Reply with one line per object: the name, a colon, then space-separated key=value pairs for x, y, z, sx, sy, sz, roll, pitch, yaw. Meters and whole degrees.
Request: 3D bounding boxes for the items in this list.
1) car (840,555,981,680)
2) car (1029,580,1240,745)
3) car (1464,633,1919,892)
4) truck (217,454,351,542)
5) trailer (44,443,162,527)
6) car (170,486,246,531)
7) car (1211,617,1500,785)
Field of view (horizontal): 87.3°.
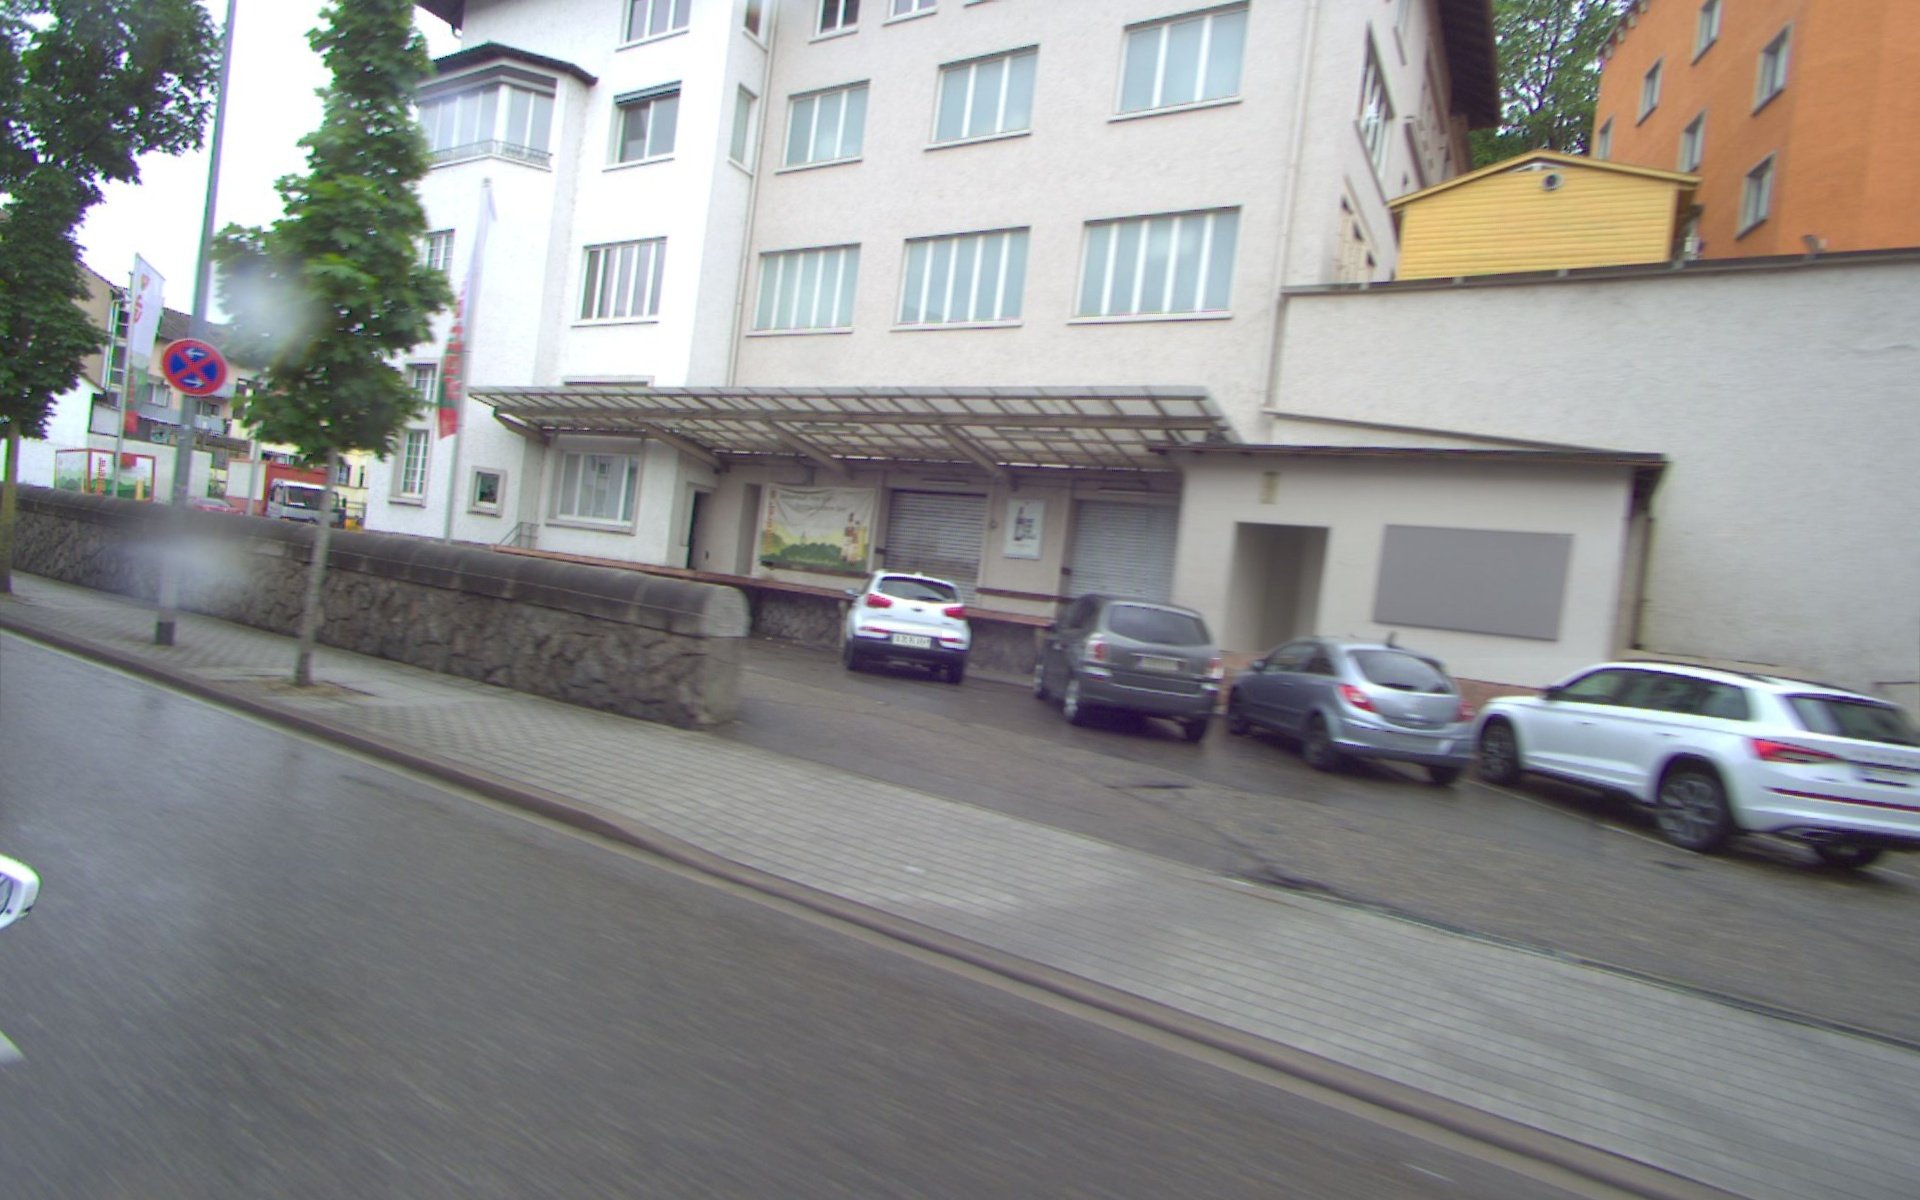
car: x=-0.853 y=0.278 z=16.675 sx=1.893 sy=1.586 sz=3.979 roll=7 pitch=-1 yaw=-4
car: x=2.131 y=0.677 z=13.462 sx=1.740 sy=1.604 sz=3.994 roll=7 pitch=2 yaw=-3
car: x=7.487 y=1.454 z=10.415 sx=1.835 sy=1.671 sz=4.266 roll=7 pitch=2 yaw=-7
truck: x=-29.314 y=-4.440 z=43.495 sx=6.823 sy=3.259 sz=2.628 roll=7 pitch=3 yaw=37
trailer: x=-33.122 y=-4.473 z=38.828 sx=5.305 sy=2.754 sz=2.125 roll=8 pitch=4 yaw=35
car: x=-30.690 y=-3.737 z=41.030 sx=3.214 sy=1.476 sz=1.588 roll=7 pitch=2 yaw=36
car: x=4.646 y=1.108 z=12.497 sx=1.615 sy=1.420 sz=3.832 roll=5 pitch=2 yaw=-6
